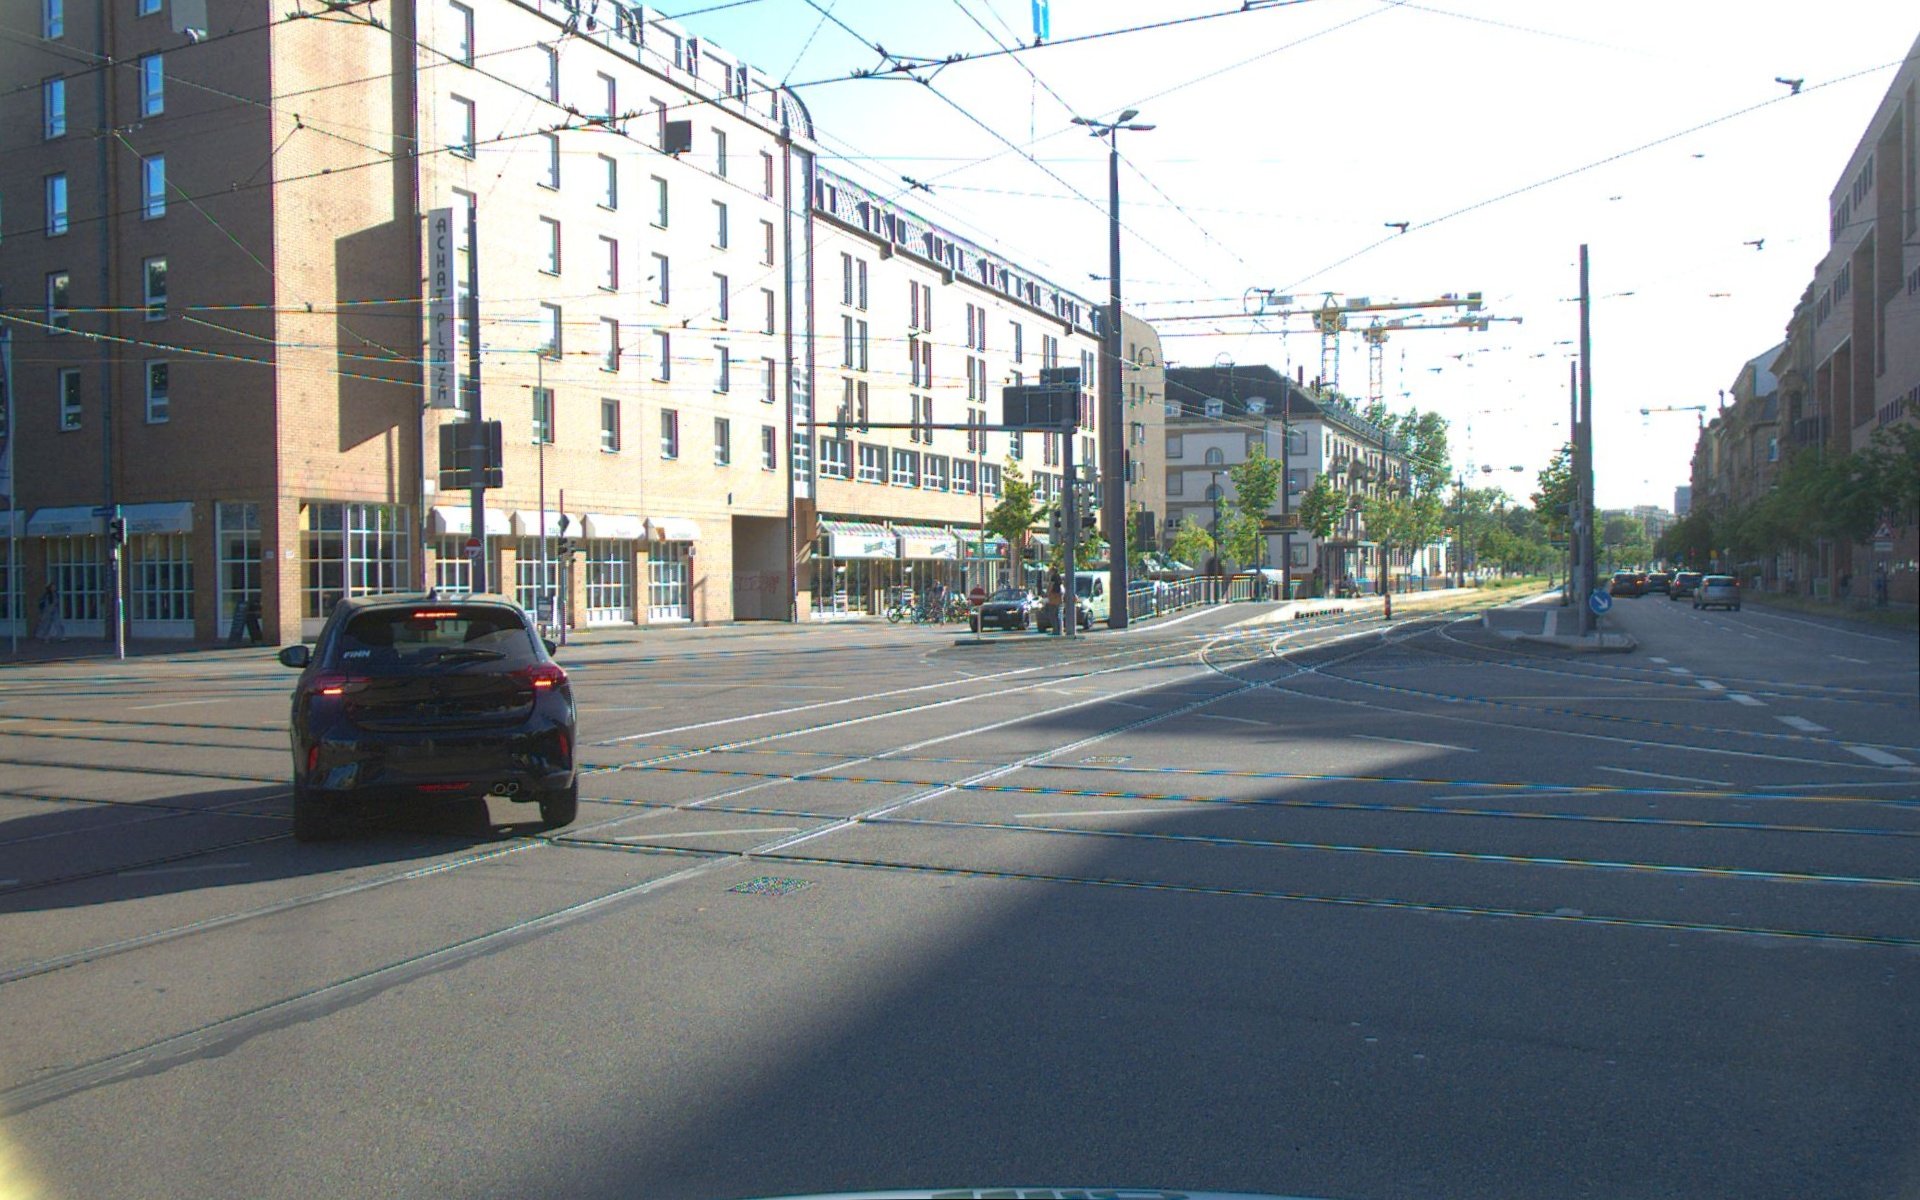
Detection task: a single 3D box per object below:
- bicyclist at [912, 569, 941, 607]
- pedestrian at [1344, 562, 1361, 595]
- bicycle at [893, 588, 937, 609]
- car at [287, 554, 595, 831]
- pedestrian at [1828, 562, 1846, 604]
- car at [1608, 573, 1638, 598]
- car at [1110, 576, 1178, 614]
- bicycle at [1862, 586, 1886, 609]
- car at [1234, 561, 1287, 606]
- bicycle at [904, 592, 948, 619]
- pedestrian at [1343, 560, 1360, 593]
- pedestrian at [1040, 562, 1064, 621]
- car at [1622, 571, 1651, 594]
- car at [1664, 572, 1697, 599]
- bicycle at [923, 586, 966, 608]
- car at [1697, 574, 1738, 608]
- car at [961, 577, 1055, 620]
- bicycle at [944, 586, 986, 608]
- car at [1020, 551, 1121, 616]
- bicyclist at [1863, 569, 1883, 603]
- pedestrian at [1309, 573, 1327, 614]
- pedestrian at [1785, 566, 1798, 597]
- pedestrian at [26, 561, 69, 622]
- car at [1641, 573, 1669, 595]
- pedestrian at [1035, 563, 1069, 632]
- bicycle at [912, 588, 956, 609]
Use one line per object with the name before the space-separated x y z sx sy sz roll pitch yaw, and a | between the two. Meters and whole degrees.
bicyclist | -1.284 -0.458 63.507 0.793 1.401 0.926 -1 0 21
pedestrian | 20.227 -1.111 85.317 0.842 1.699 0.738 0 1 12
bicycle | -1.953 -0.054 71.350 1.997 0.860 0.481 -1 0 33
car | -3.625 0.458 11.159 1.649 1.528 3.665 -1 2 -23
pedestrian | 38.894 -0.749 73.352 0.627 1.817 0.688 -1 -1 23
car | 40.458 -0.907 100.867 1.685 1.479 3.697 0 1 22
car | 7.772 -0.197 69.539 1.801 1.474 4.298 -2 -1 21
bicycle | 36.751 -0.103 66.536 0.635 0.920 2.344 -1 0 24
car | 21.458 -1.220 117.688 2.328 3.051 8.473 -1 1 20
bicycle | -1.277 0.187 63.500 0.793 1.008 2.509 -1 0 21
pedestrian | 20.371 -1.210 85.972 0.842 1.699 0.785 0 1 12
pedestrian | 2.498 -0.223 44.973 0.568 1.604 0.647 0 0 9
car | 44.464 -1.130 108.752 1.685 1.479 3.697 -1 0 22
car | 40.435 -0.811 92.892 1.637 1.479 3.697 0 1 22
bicycle | -0.708 -0.115 73.869 1.997 0.937 0.481 -1 0 33
car | 33.438 -0.399 73.087 1.528 1.481 3.431 0 0 23
car | 1.645 -0.034 54.856 1.801 1.291 4.230 -2 -1 21
bicycle | 0.223 -0.131 74.856 1.997 0.937 0.481 -1 0 33
car | 3.495 -0.496 51.666 1.802 1.868 4.105 -3 -1 24
bicyclist | 36.765 -0.566 66.575 0.633 1.363 0.652 -1 -1 24
pedestrian | 16.808 -0.319 77.710 0.842 1.919 0.738 0 1 12
pedestrian | 48.985 -1.090 97.457 0.627 1.817 0.688 -1 -1 25
pedestrian | -25.445 -0.239 46.121 0.736 1.695 0.741 -1 0 25
car | 47.804 -1.099 113.788 1.685 1.479 3.697 -1 0 22
pedestrian | 2.374 -0.069 42.754 0.706 1.757 0.594 -1 0 24
bicycle | -1.130 -0.060 72.646 1.997 0.860 0.481 -1 0 33
